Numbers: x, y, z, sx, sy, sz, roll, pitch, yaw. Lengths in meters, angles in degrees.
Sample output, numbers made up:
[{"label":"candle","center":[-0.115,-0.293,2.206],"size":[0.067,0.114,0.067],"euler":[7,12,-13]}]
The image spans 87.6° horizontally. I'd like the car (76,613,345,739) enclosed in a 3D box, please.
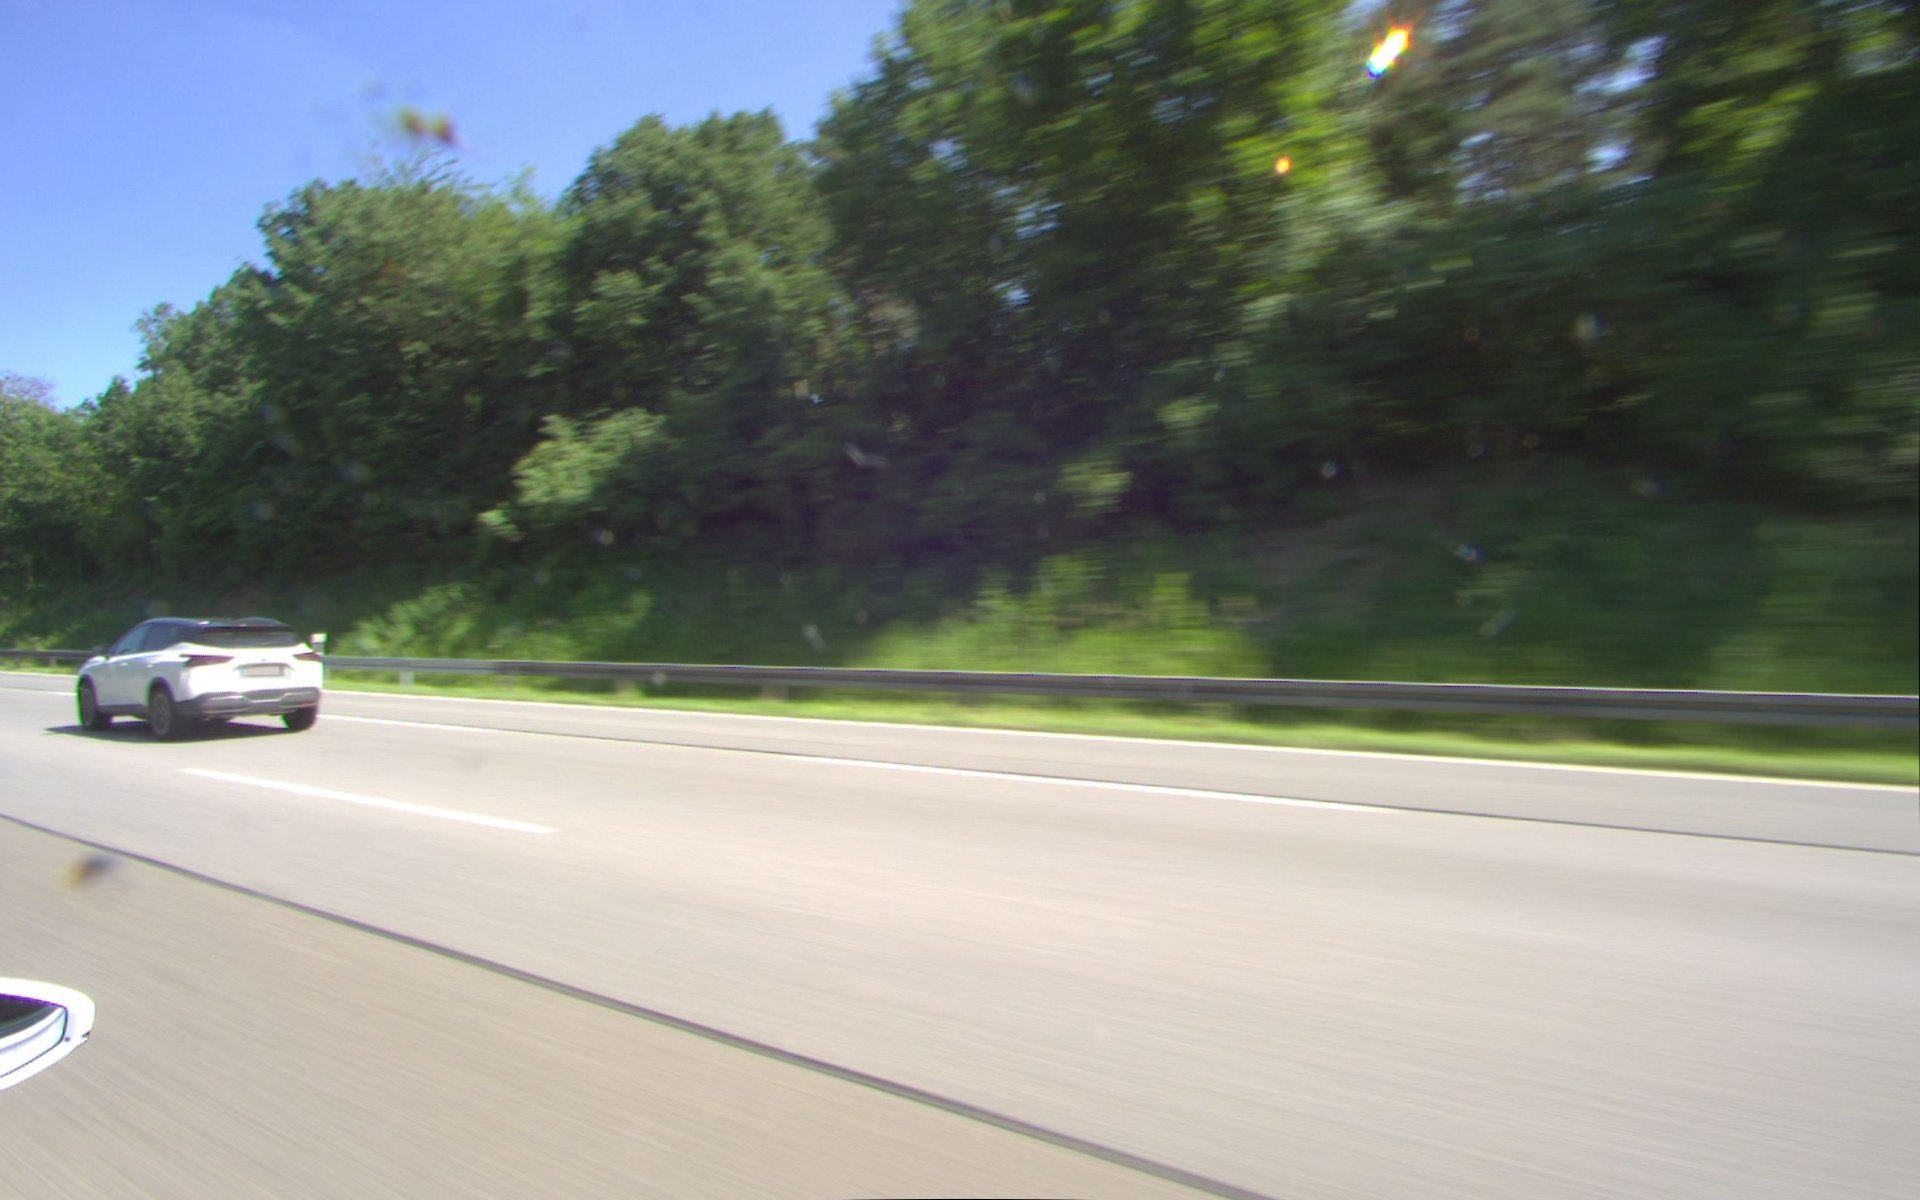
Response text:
[{"label":"car","center":[-10.885,1.016,14.493],"size":[3.978,1.588,1.840],"euler":[-1,-2,33]}]
